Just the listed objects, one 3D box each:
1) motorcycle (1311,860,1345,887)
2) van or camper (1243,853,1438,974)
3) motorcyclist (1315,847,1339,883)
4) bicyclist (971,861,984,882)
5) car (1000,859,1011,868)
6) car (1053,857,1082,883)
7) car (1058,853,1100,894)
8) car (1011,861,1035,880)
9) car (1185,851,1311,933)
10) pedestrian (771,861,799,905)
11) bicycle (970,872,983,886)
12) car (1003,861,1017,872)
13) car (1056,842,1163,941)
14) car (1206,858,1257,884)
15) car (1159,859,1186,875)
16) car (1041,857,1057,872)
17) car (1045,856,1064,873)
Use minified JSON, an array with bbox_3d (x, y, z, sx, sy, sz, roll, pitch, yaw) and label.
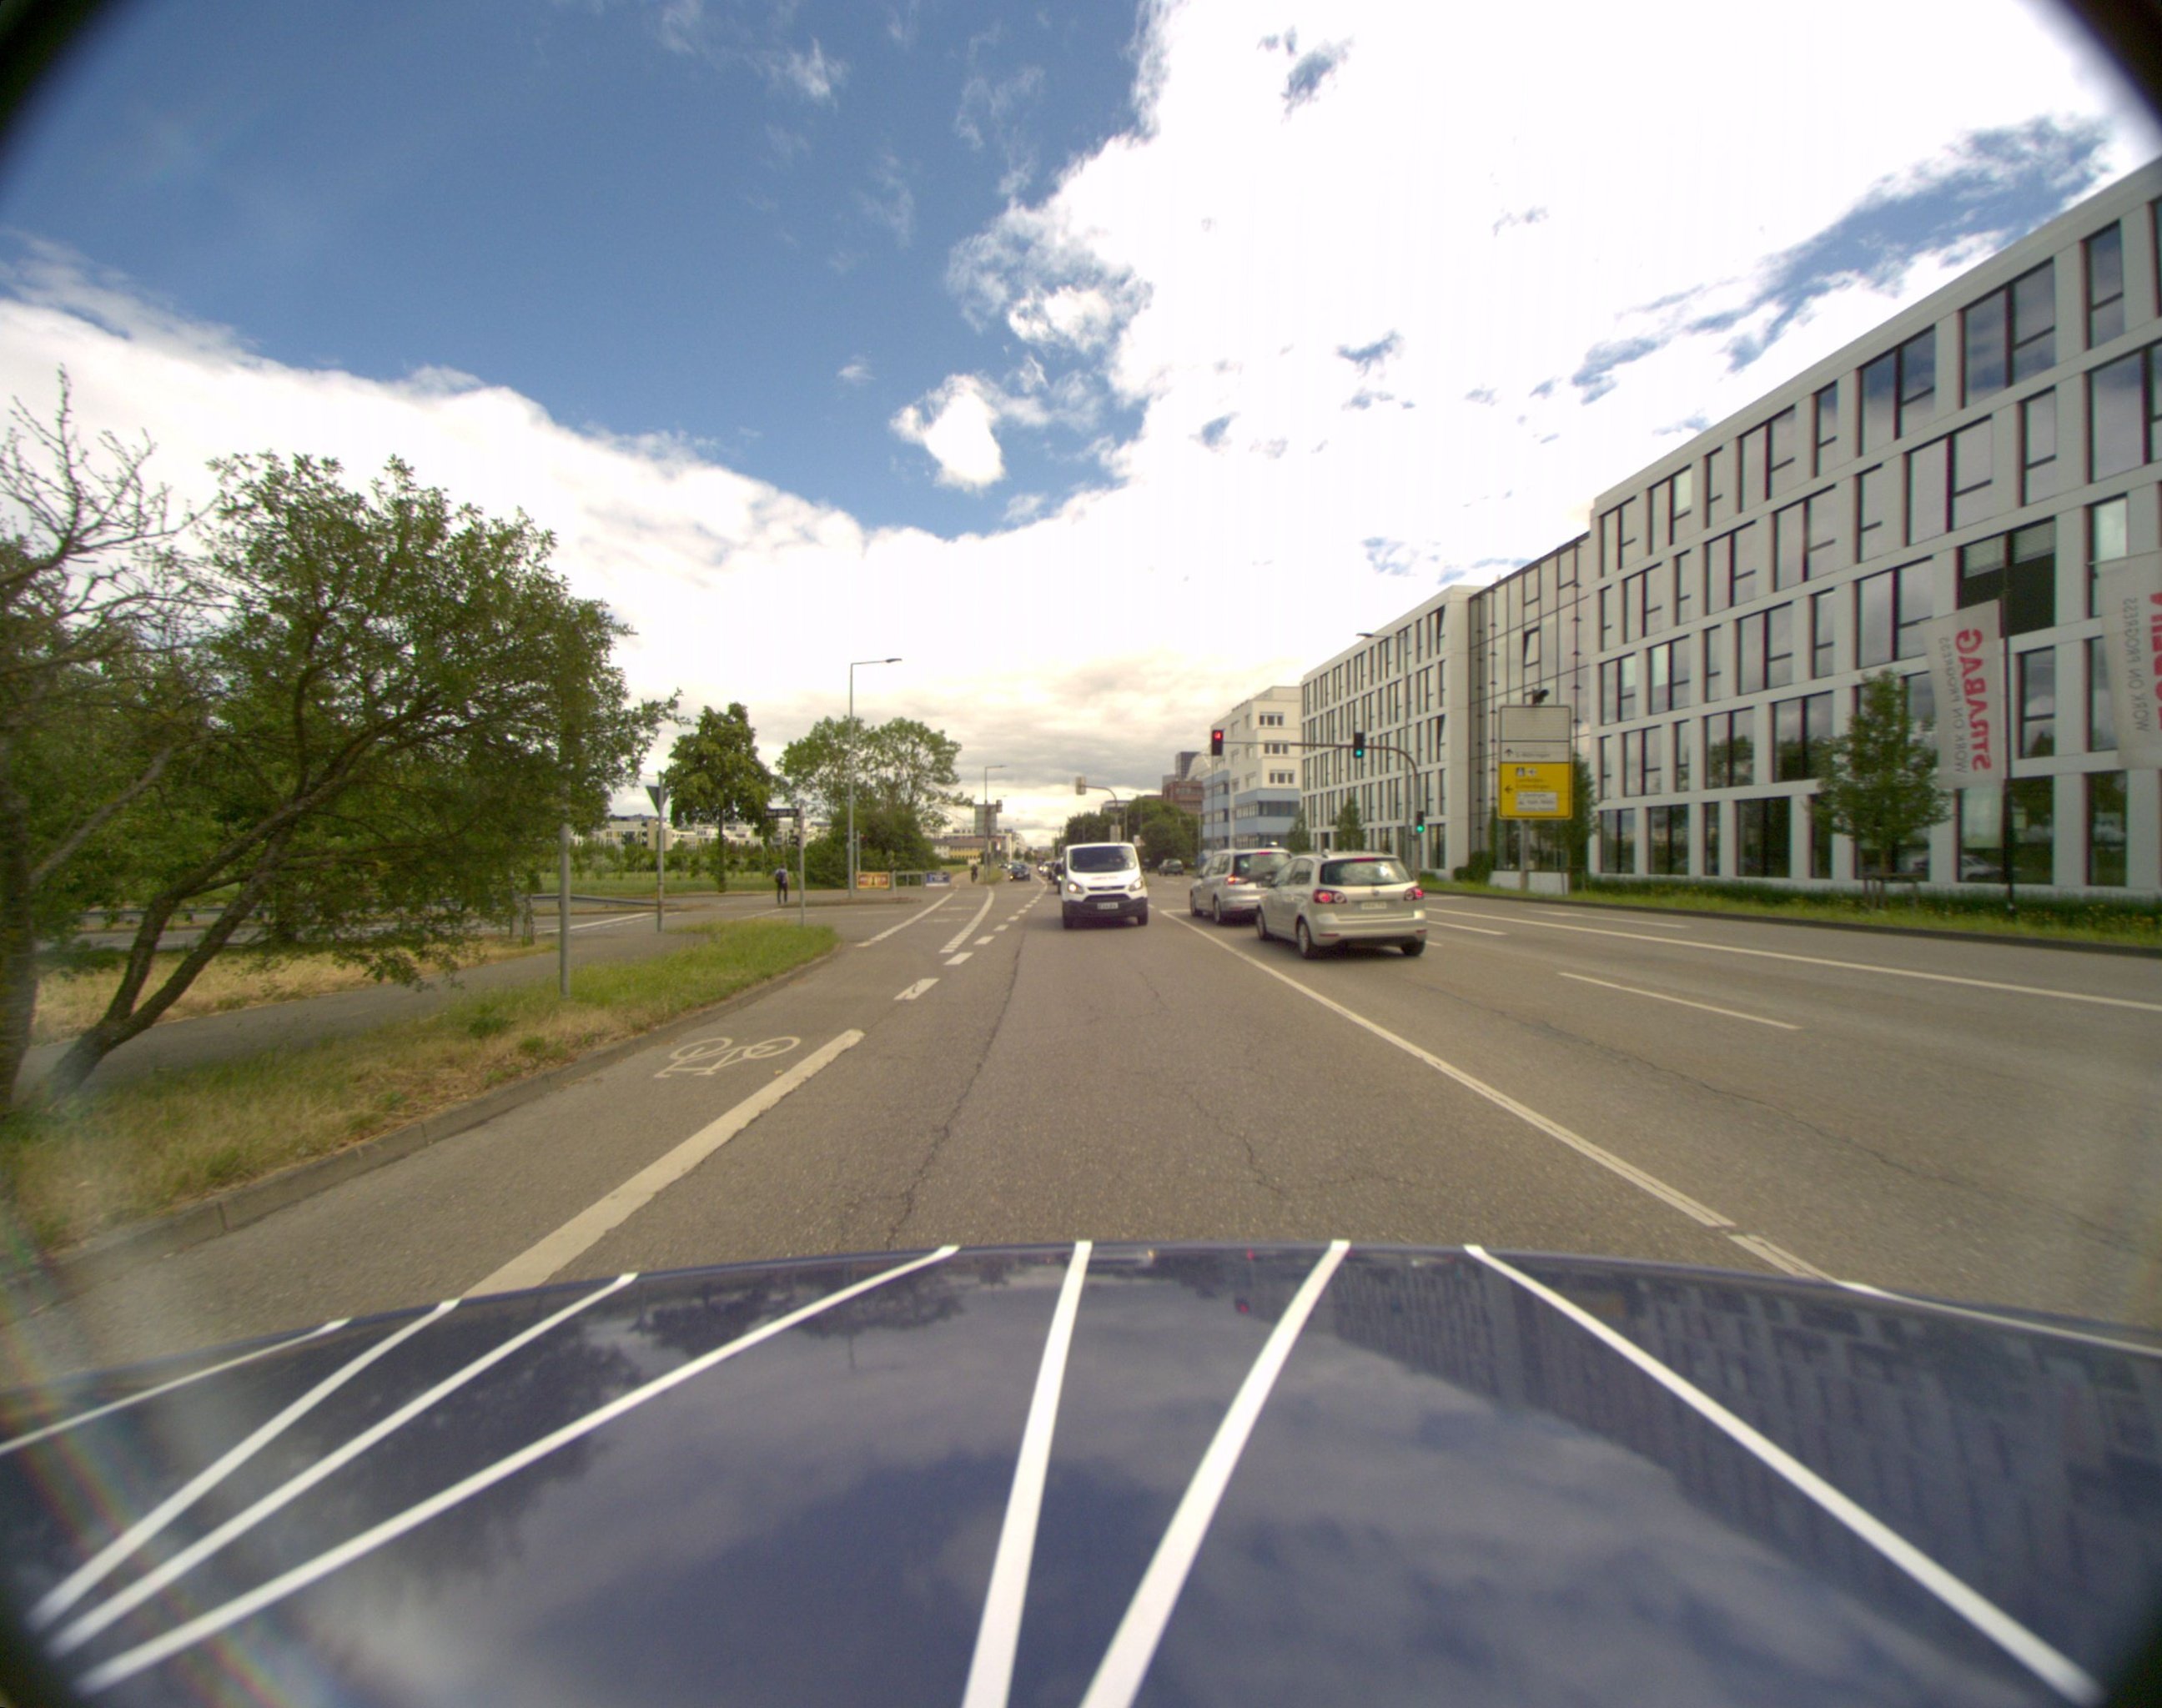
[{"bbox_3d":[10.554,0.829,32.559,0.655,1.106,1.933,-2,0,-5],"label":"motorcycle"},{"bbox_3d":[3.970,0.825,12.379,1.748,1.600,4.046,-2,0,0],"label":"van or camper"},{"bbox_3d":[10.544,0.479,32.565,0.655,1.501,0.917,-2,0,-5],"label":"motorcyclist"},{"bbox_3d":[-8.673,1.475,63.596,1.017,1.697,1.200,0,0,-7],"label":"bicyclist"},{"bbox_3d":[-15.239,1.900,153.250,1.873,1.685,4.368,-2,0,-8],"label":"car"},{"bbox_3d":[-0.946,1.062,52.023,1.872,1.685,4.371,-2,0,-2],"label":"car"},{"bbox_3d":[-0.143,0.921,37.624,1.872,1.836,4.370,-2,0,-2],"label":"car"},{"bbox_3d":[-4.730,1.347,62.489,1.736,1.432,4.367,-2,0,-2],"label":"car"},{"bbox_3d":[3.833,0.819,18.206,1.872,1.685,4.371,-2,0,-2],"label":"car"},{"bbox_3d":[-13.080,1.282,33.589,0.764,1.872,0.802,-2,0,37],"label":"pedestrian"},{"bbox_3d":[-8.666,2.062,63.316,1.017,1.127,2.674,0,0,-7],"label":"bicycle"},{"bbox_3d":[-9.774,1.703,104.402,1.736,1.432,4.367,-2,0,-4],"label":"car"},{"bbox_3d":[0.488,0.796,18.659,2.122,1.963,6.205,-2,0,-2],"label":"car"},{"bbox_3d":[8.430,0.936,42.805,1.749,1.347,3.638,-2,0,-6],"label":"car"},{"bbox_3d":[8.083,1.121,67.045,1.609,1.383,3.638,-2,0,-5],"label":"car"},{"bbox_3d":[-4.027,1.294,94.412,1.873,1.685,4.370,-2,0,-4],"label":"car"},{"bbox_3d":[-2.716,1.085,78.702,1.872,1.685,4.371,-2,0,-2],"label":"car"}]
